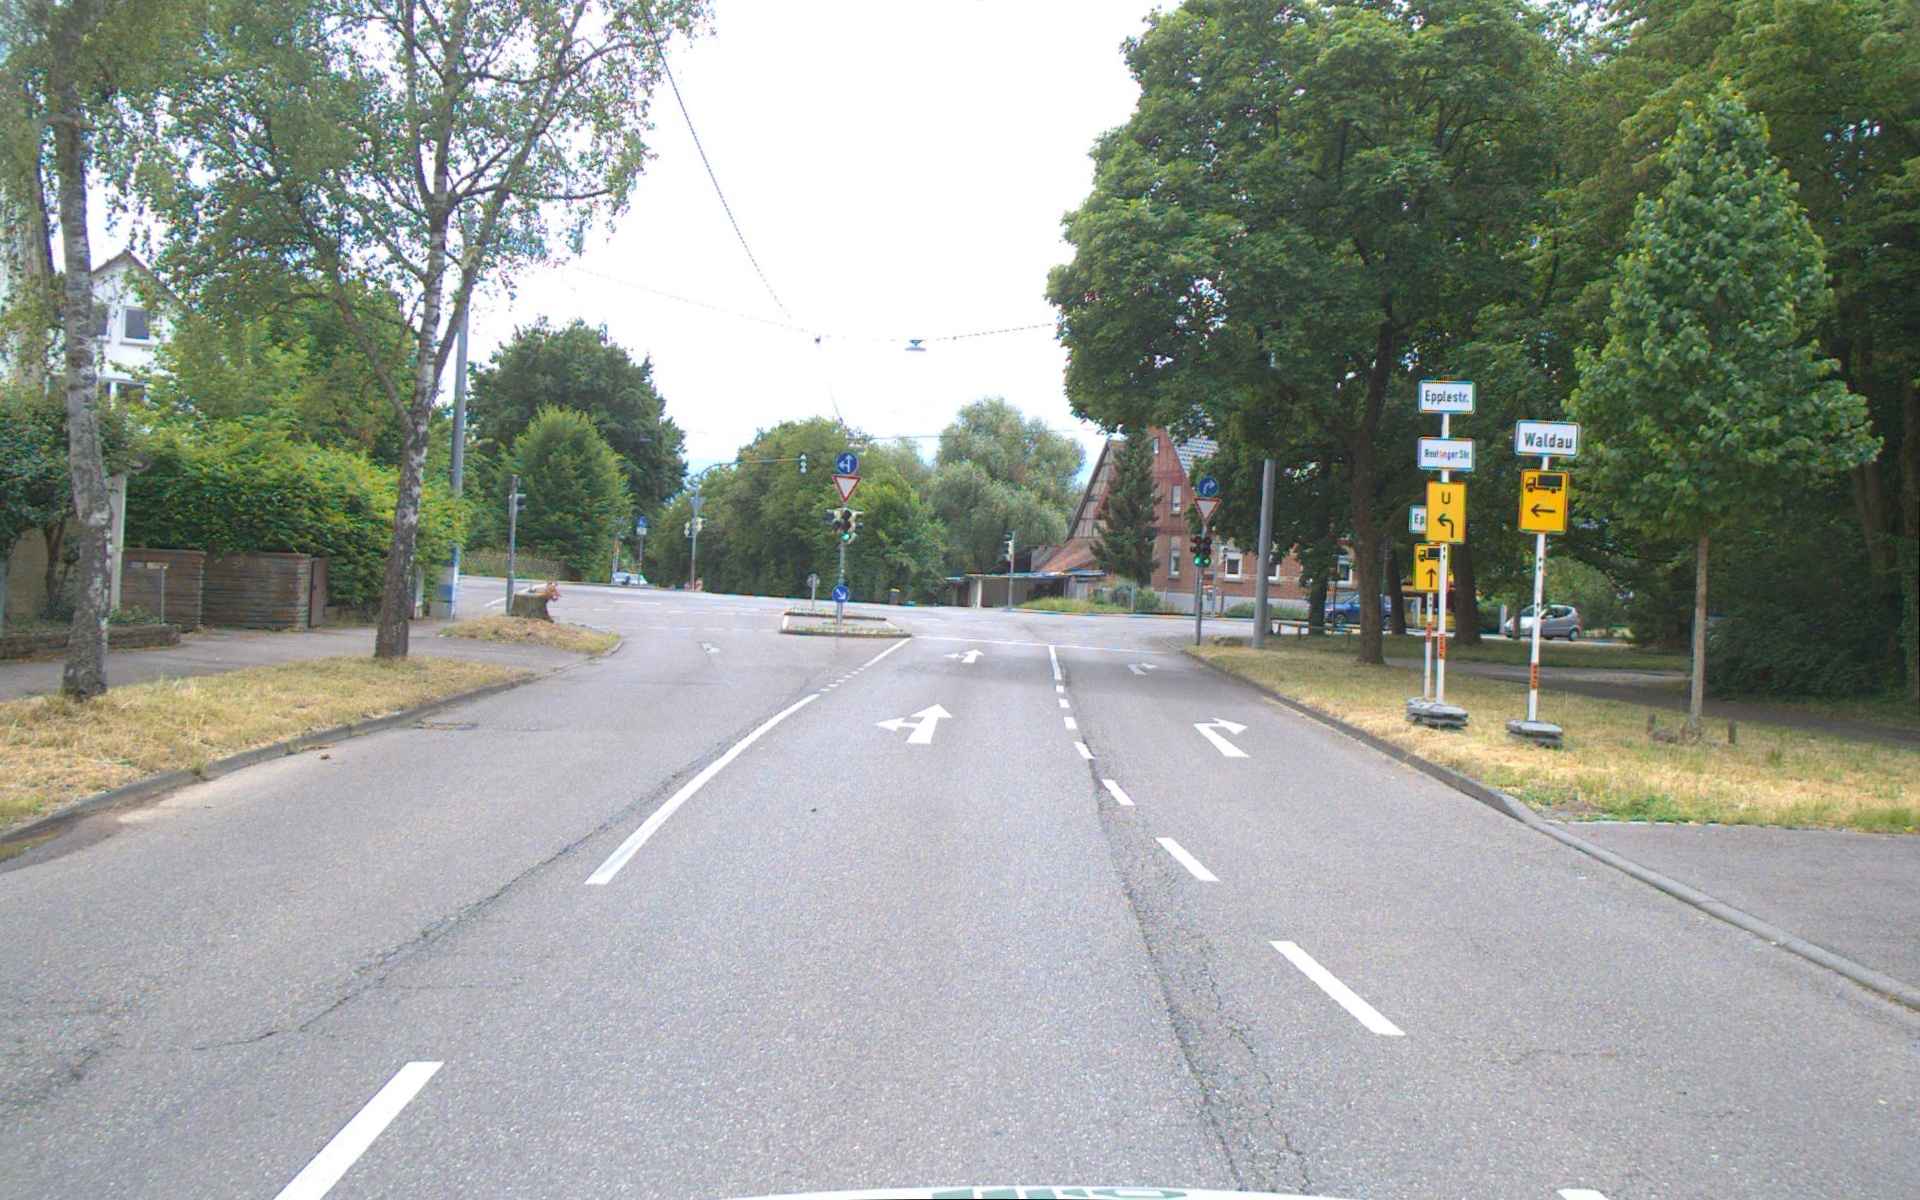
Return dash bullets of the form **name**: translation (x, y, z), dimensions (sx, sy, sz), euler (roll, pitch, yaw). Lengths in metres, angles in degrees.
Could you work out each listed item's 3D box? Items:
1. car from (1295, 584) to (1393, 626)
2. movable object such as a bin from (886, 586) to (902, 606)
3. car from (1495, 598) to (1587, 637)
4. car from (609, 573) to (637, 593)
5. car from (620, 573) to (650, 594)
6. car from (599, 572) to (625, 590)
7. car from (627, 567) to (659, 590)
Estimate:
- **car**: translation (17.134, 0.230, 73.824), dimensions (3.785, 1.676, 1.990), euler (2, 0, -18)
- **movable object such as a bin**: translation (-3.497, -0.209, 87.598), dimensions (0.625, 1.019, 0.579), euler (3, -2, -26)
- **car**: translation (26.113, 0.792, 74.352), dimensions (3.415, 1.557, 1.986), euler (2, 0, -23)
- **car**: translation (-26.156, -1.353, 128.438), dimensions (1.765, 1.434, 3.982), euler (2, 1, -16)
- **car**: translation (-23.955, -1.248, 121.788), dimensions (1.765, 1.434, 3.982), euler (2, 1, -16)
- **car**: translation (-29.508, -1.605, 140.119), dimensions (1.765, 1.434, 3.982), euler (2, 1, -16)
- **car**: translation (-22.089, -1.510, 115.290), dimensions (1.765, 1.538, 3.982), euler (2, 1, -16)
